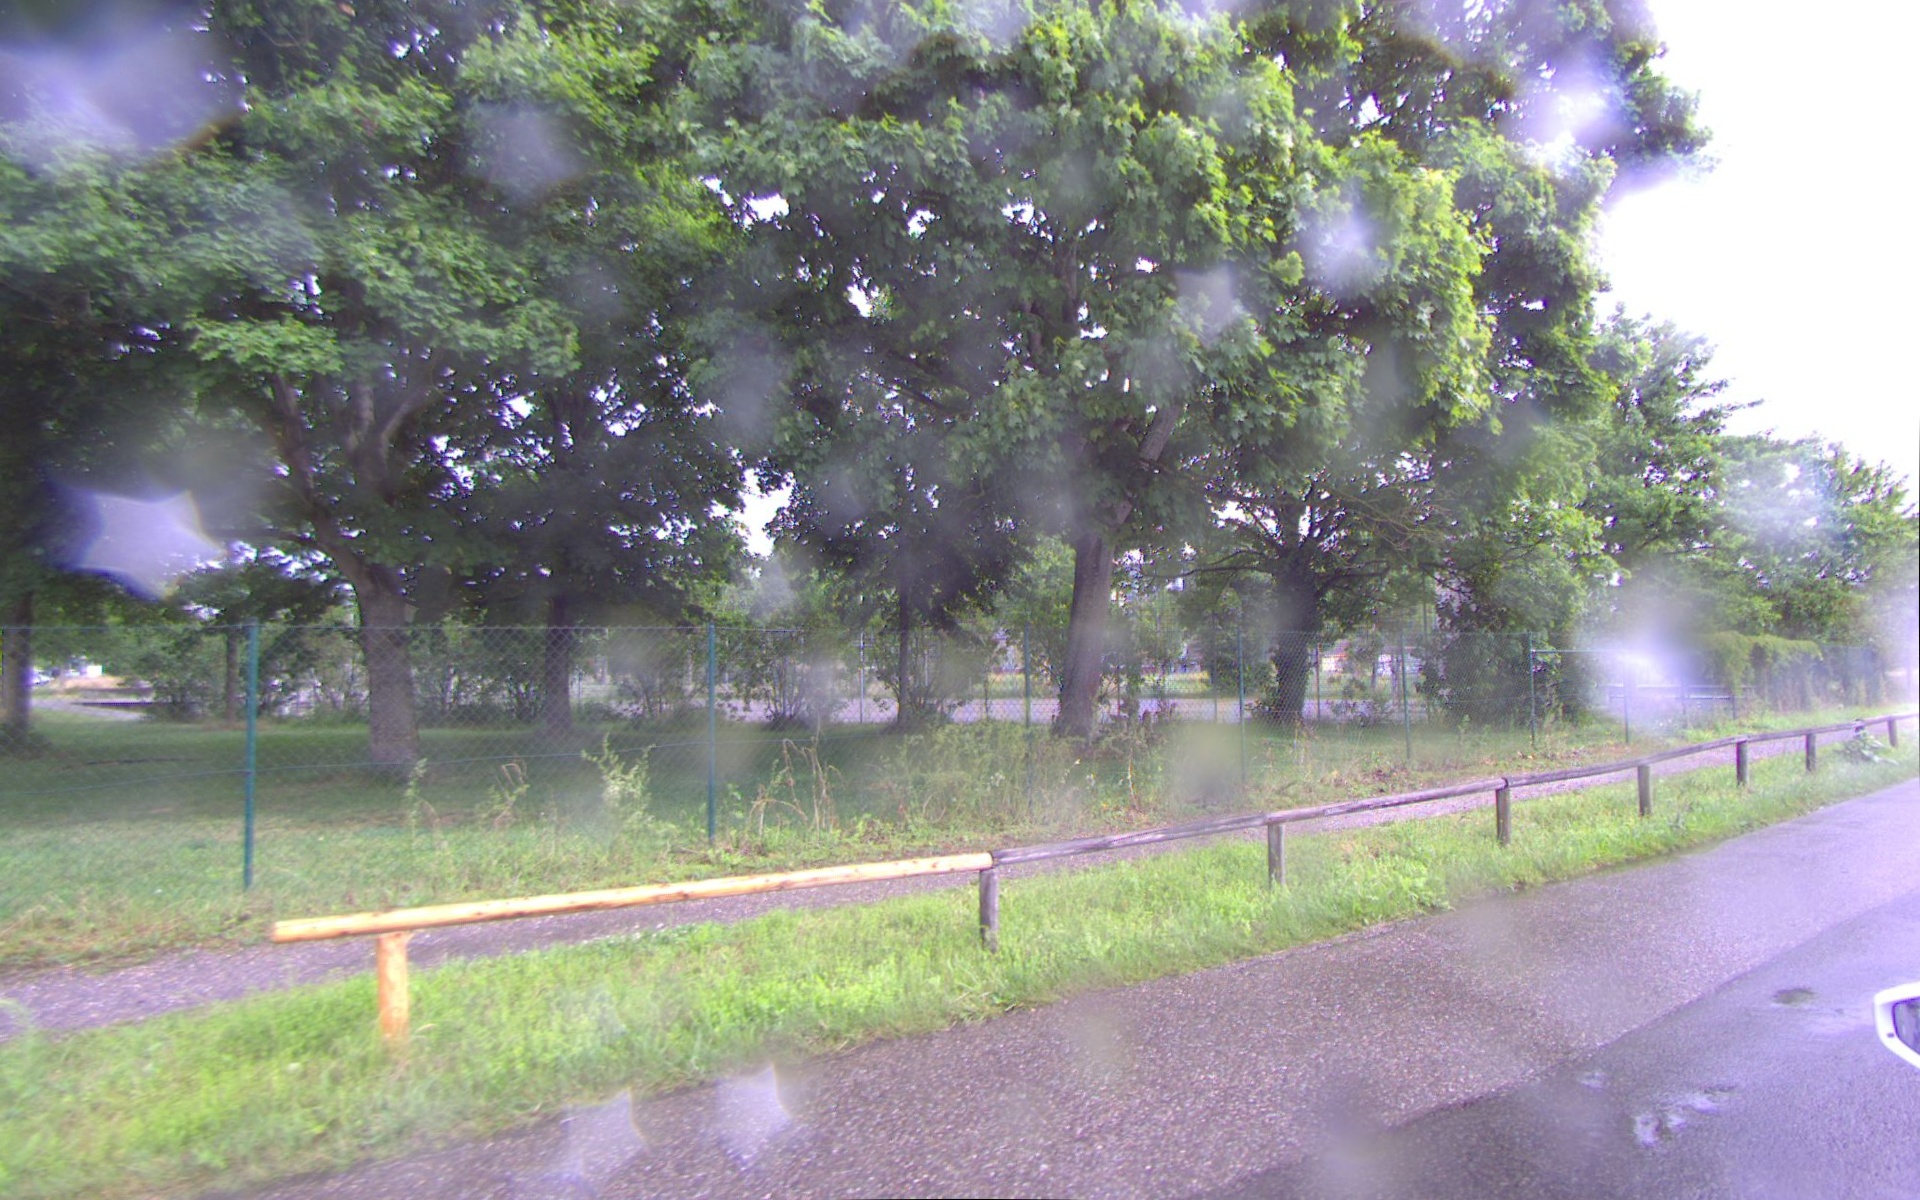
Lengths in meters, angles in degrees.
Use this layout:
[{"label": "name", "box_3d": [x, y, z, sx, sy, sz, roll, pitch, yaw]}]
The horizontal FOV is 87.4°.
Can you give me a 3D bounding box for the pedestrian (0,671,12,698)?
[{"label": "pedestrian", "box_3d": [-60.208, 5.353, 63.334, 0.507, 1.685, 0.489, 2, -4, -38]}]
